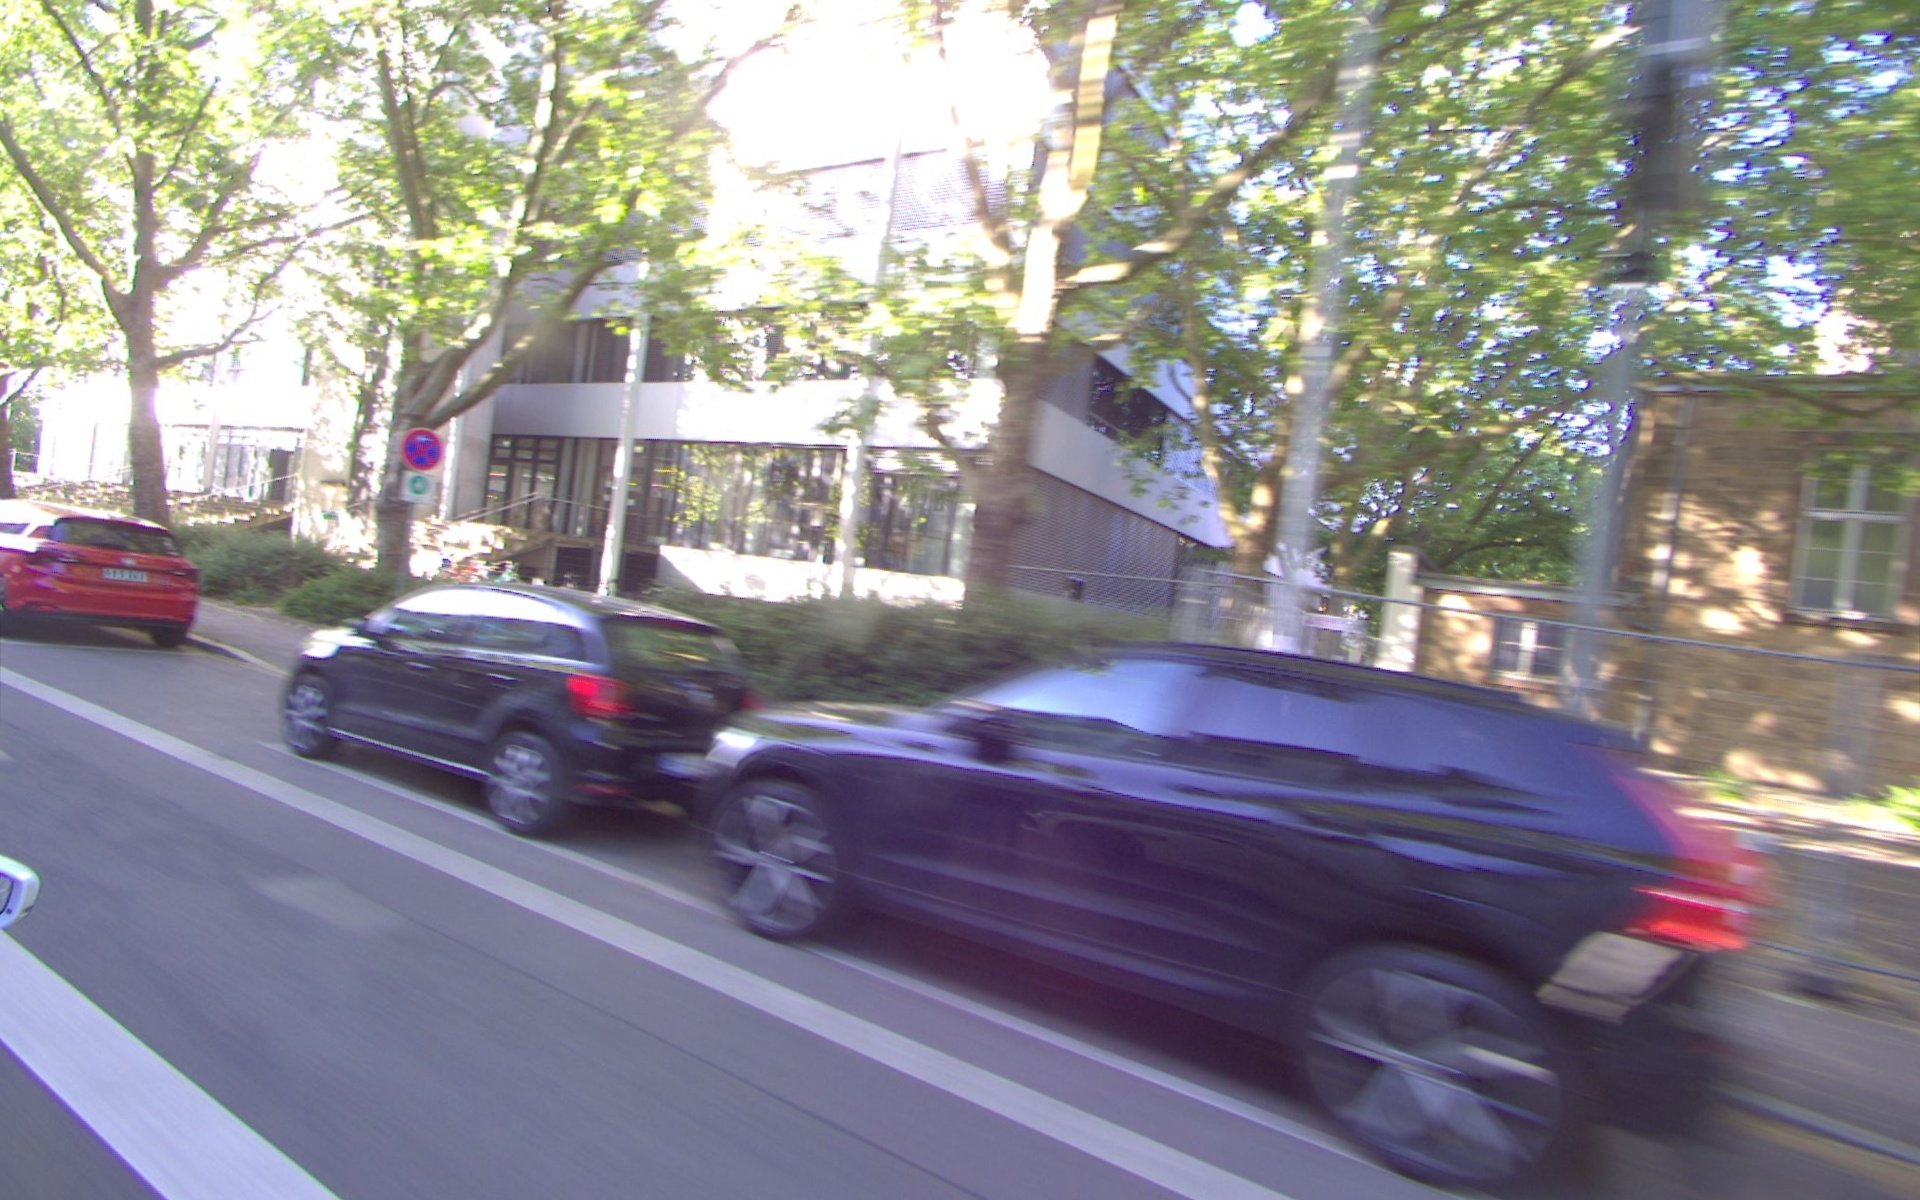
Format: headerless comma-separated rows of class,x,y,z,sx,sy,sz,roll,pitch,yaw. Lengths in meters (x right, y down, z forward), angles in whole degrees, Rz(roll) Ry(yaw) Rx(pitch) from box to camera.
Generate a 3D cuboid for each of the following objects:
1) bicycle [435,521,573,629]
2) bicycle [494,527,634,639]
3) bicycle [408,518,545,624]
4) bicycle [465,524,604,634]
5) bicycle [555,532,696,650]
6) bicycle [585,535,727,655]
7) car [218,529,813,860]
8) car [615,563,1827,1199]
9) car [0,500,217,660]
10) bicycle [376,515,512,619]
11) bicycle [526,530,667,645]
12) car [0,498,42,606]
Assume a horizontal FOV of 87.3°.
bicycle,-9.944,-0.502,22.074,0.730,2.038,2.602,7,-1,31
bicycle,-8.193,-0.303,20.992,0.730,2.038,2.602,7,-1,31
bicycle,-10.784,-0.599,22.565,0.730,2.038,2.602,7,-1,31
bicycle,-9.039,-0.399,21.515,0.730,2.038,2.602,7,-1,31
bicycle,-6.598,-0.120,20.021,0.730,2.038,2.602,7,-1,31
bicycle,-5.841,-0.036,19.514,0.730,2.038,2.602,7,-1,31
car,-3.232,0.544,7.170,3.951,1.520,1.698,7,-3,29
car,0.767,0.982,4.685,4.542,1.645,1.781,7,-3,30
car,-11.068,-0.363,12.218,4.247,1.495,1.697,7,-3,32
bicycle,-11.791,-0.718,23.106,0.730,2.038,2.602,7,-1,31
bicycle,-7.343,-0.205,20.492,0.730,2.038,2.602,7,-1,31
car,-15.506,-0.959,14.900,3.999,1.482,1.697,7,-3,33
